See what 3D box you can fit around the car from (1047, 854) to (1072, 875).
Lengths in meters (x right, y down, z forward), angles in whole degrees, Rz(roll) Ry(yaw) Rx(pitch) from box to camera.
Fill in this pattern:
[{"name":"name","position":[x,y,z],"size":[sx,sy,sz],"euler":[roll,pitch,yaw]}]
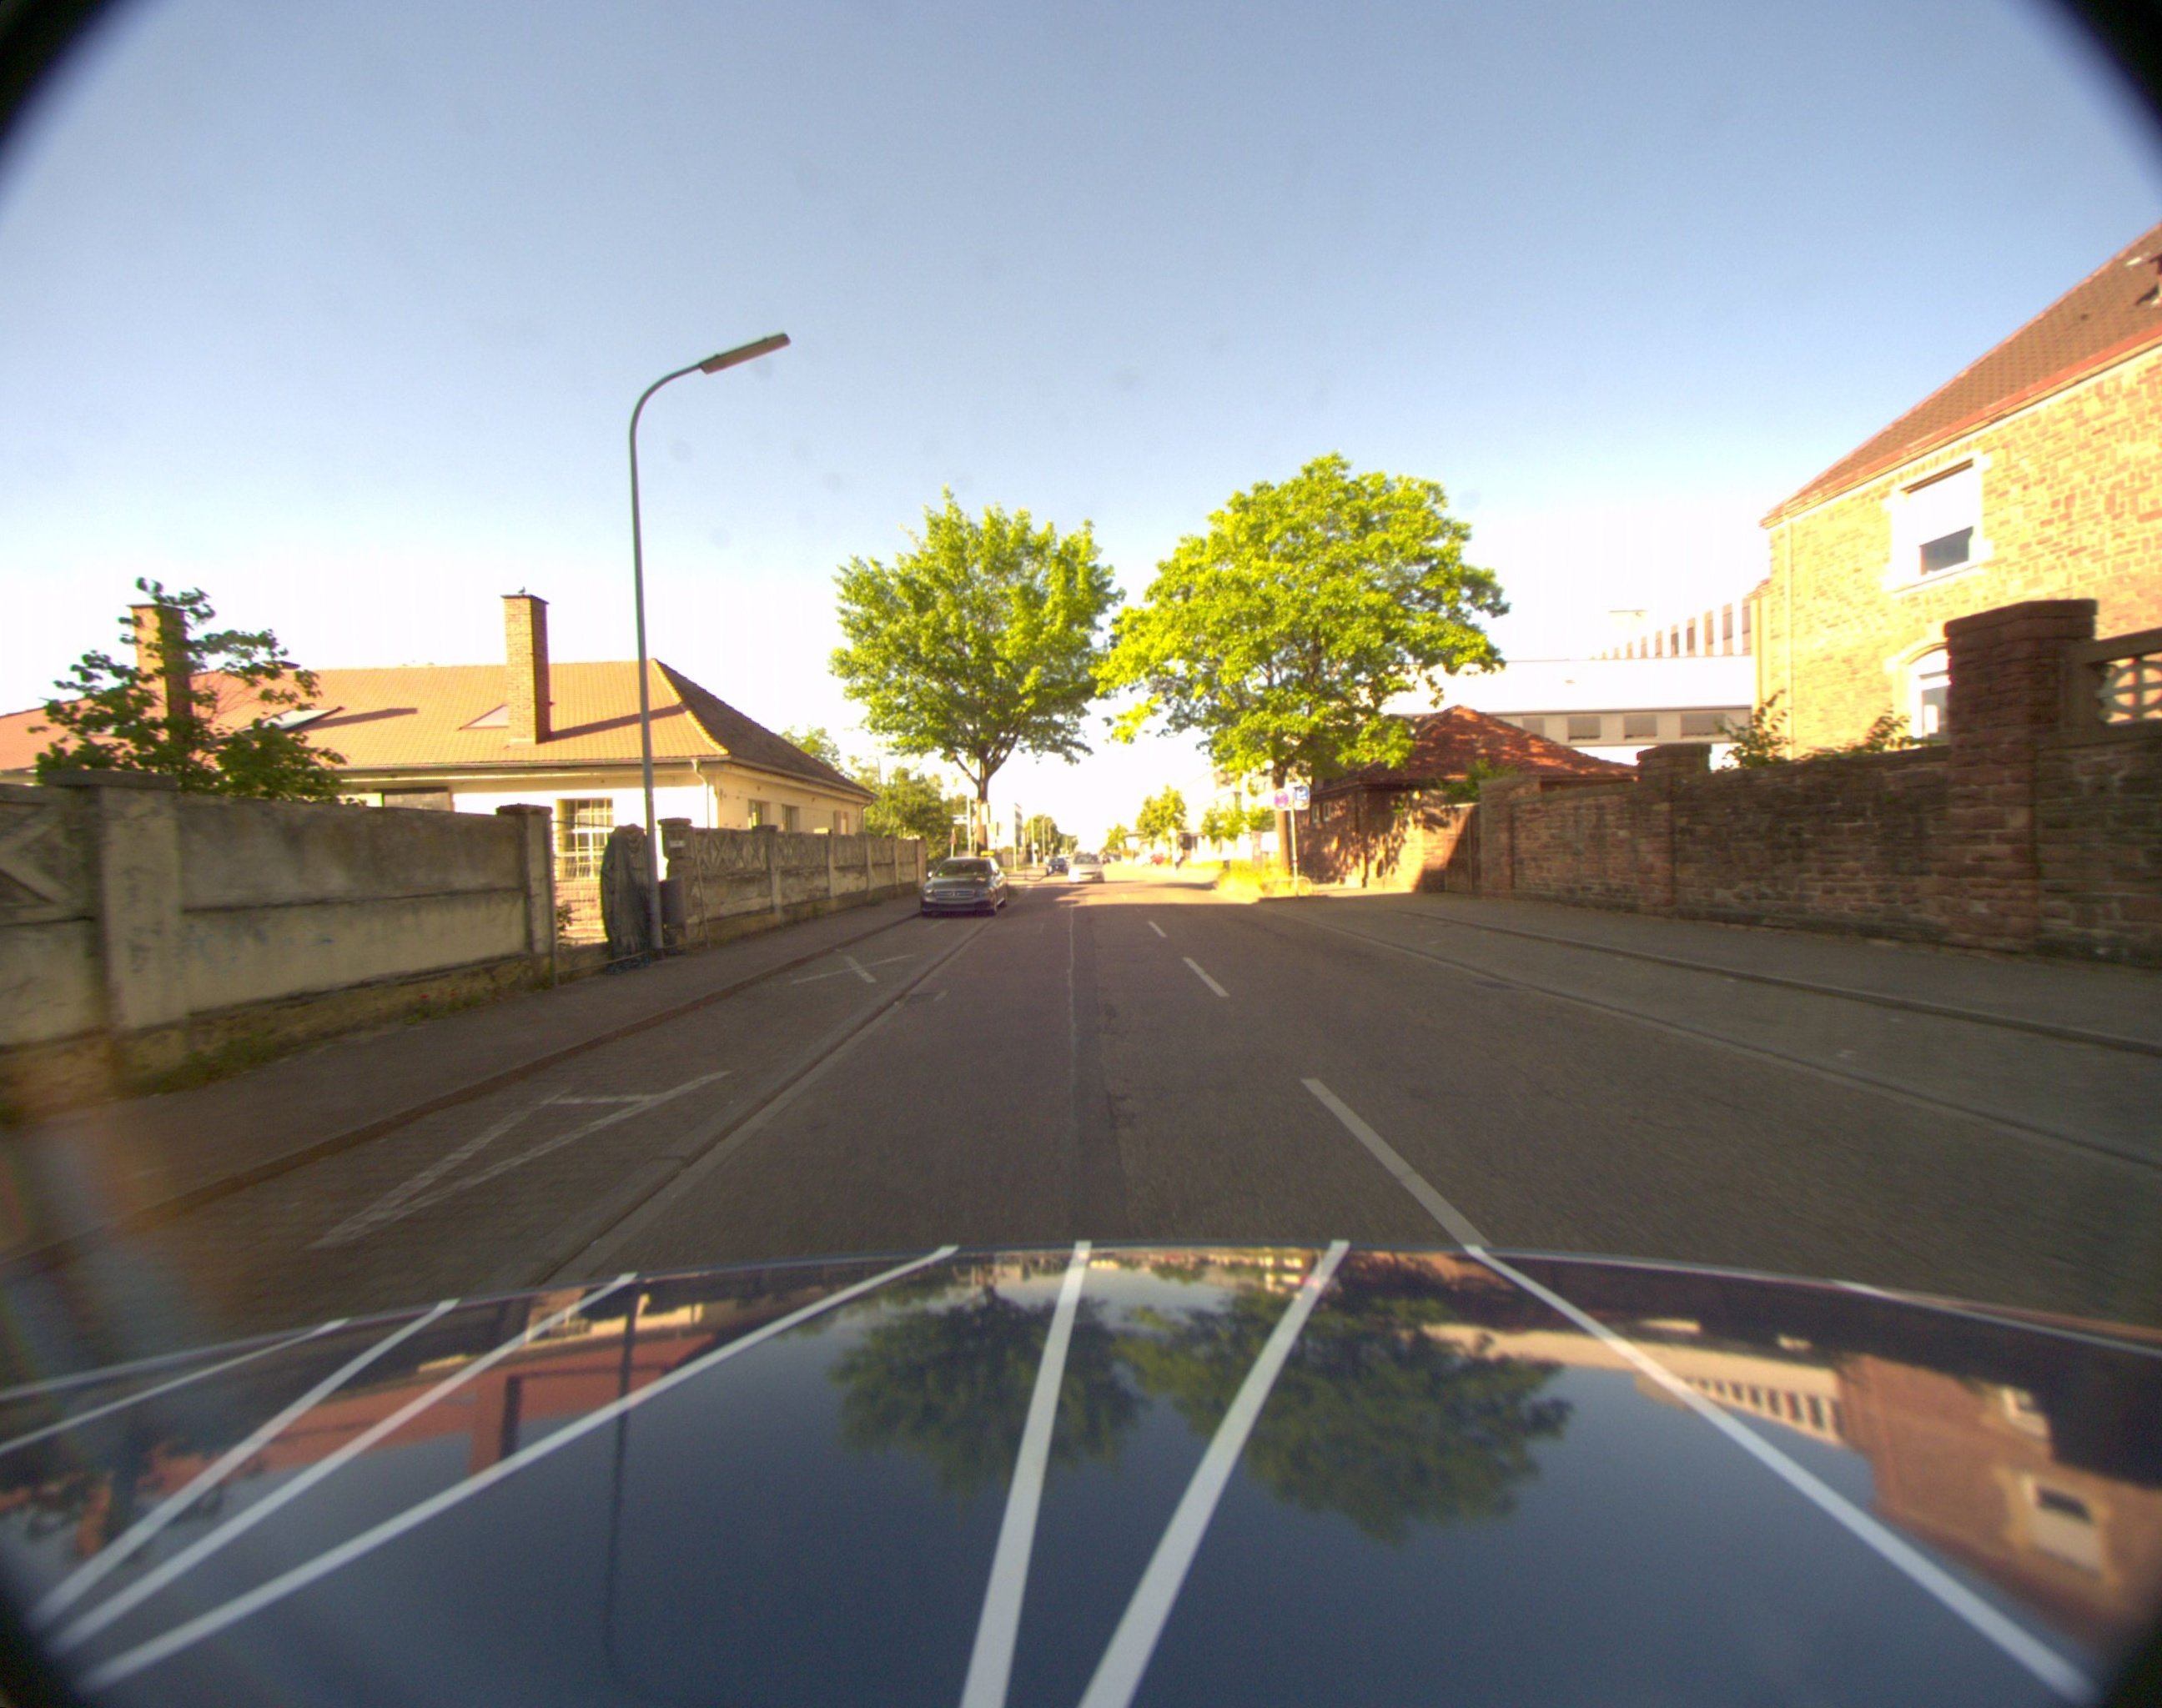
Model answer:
[{"name":"car","position":[-1.678,0.811,59.842],"size":[1.757,1.459,3.485],"euler":[-4,1,-1]}]

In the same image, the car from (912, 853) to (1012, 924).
[{"name":"car","position":[-3.014,0.810,20.177],"size":[1.887,1.592,4.298],"euler":[-3,0,0]}]

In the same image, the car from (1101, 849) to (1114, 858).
[{"name":"car","position":[4.491,-0.120,130.461],"size":[1.998,1.406,4.000],"euler":[-3,1,0]}]

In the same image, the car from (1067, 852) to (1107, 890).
[{"name":"car","position":[0.308,0.791,37.007],"size":[1.748,1.613,4.106],"euler":[-3,1,1]}]

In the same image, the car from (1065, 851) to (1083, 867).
[{"name":"car","position":[-0.781,0.571,86.597],"size":[1.998,1.668,4.000],"euler":[-2,0,0]}]
